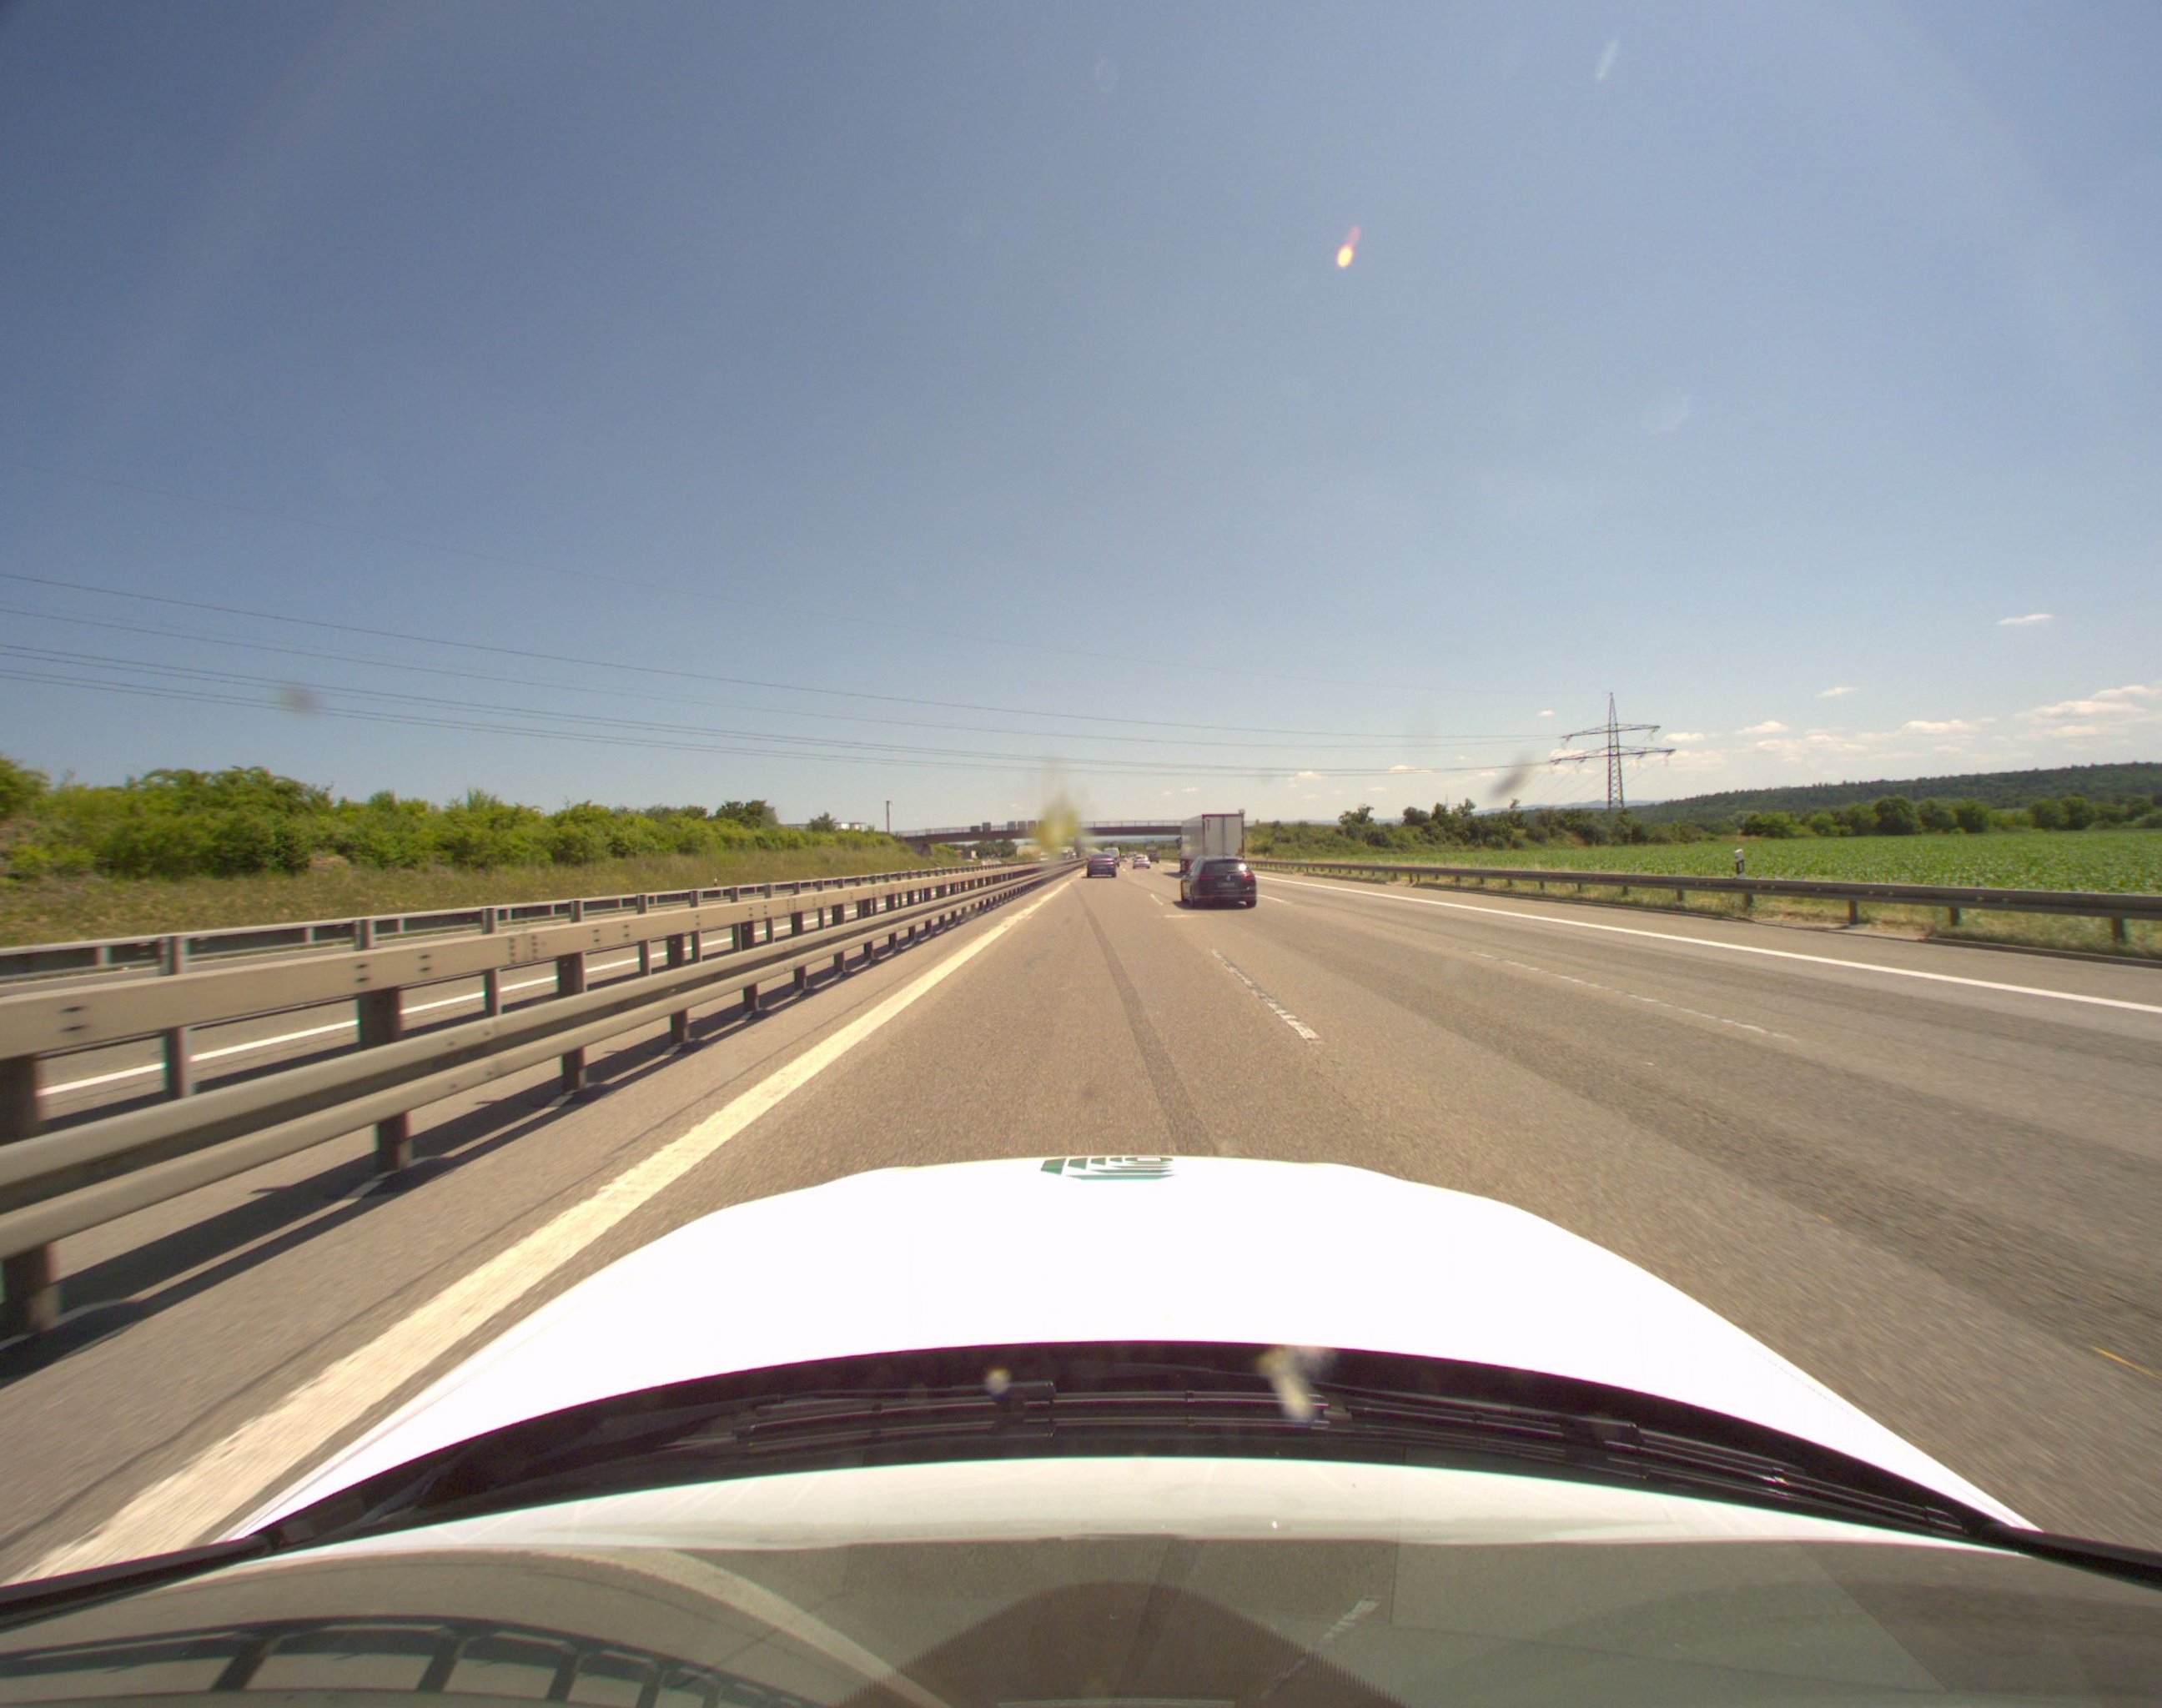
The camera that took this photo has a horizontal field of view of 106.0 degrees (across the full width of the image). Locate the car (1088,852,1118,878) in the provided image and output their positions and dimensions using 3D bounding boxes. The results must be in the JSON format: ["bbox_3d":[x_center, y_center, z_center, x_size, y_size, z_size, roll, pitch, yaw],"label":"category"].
[{"bbox_3d":[1.464,0.717,55.230,1.846,1.664,3.733,-1,0,-1],"label":"car"}]

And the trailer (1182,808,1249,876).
[{"bbox_3d":[9.132,-0.731,56.990,2.932,4.198,13.603,-1,0,2],"label":"trailer"}]

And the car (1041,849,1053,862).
[{"bbox_3d":[-7.135,0.258,170.413,2.024,2.605,7.603,-1,0,2],"label":"car"}]

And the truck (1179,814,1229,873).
[{"bbox_3d":[9.364,-0.747,62.748,2.968,4.227,7.691,-1,0,2],"label":"truck"}]

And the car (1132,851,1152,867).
[{"bbox_3d":[6.559,0.558,87.608,1.986,1.683,4.002,-1,0,2],"label":"car"}]

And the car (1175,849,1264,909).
[{"bbox_3d":[3.961,0.670,24.147,1.926,1.574,4.936,-1,0,1],"label":"car"}]

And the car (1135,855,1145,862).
[{"bbox_3d":[13.594,0.994,187.469,1.986,1.683,4.002,-1,0,2],"label":"car"}]

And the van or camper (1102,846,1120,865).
[{"bbox_3d":[3.718,0.204,101.482,2.102,2.211,5.268,-1,0,2],"label":"van or camper"}]

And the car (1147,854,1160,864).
[{"bbox_3d":[12.344,0.887,139.130,1.986,1.683,4.002,-1,0,2],"label":"car"}]

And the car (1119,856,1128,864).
[{"bbox_3d":[9.082,1.337,174.160,1.986,1.683,4.002,-1,0,2],"label":"car"}]
